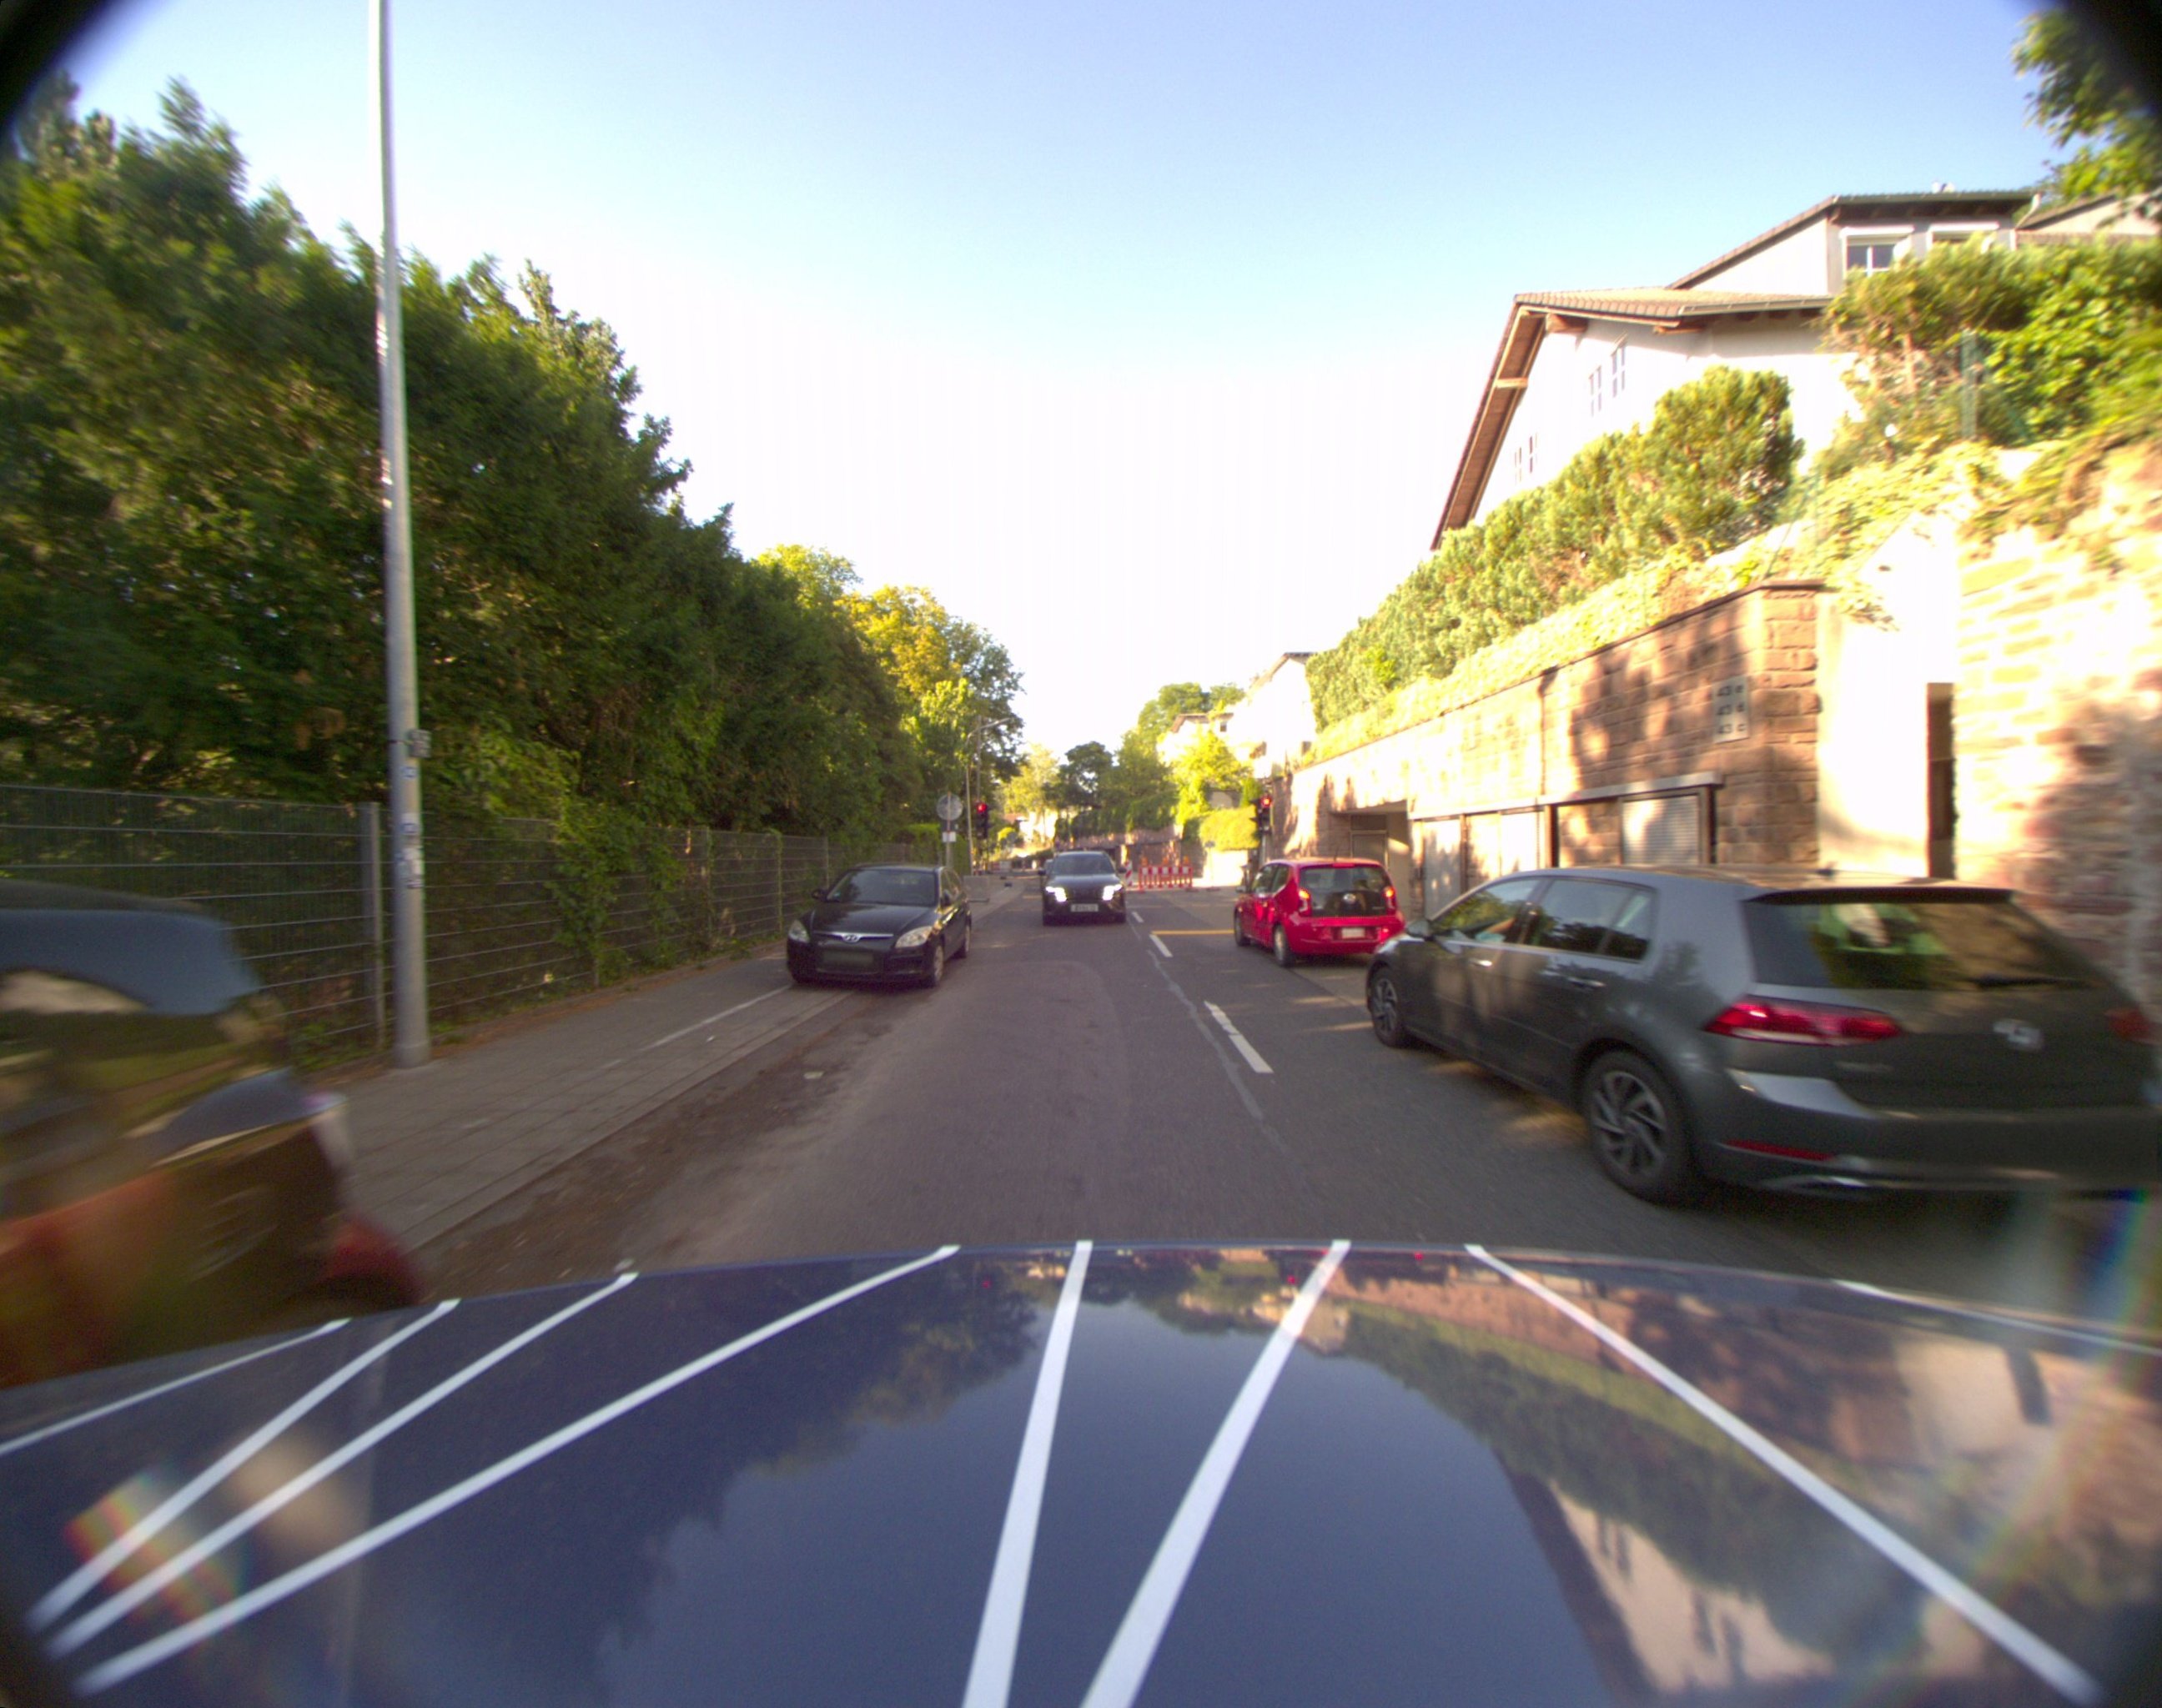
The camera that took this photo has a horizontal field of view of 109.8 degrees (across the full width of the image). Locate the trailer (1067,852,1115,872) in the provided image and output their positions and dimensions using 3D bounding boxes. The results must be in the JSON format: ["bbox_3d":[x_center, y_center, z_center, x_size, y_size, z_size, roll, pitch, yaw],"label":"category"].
[{"bbox_3d":[0.736,0.619,64.454,2.649,1.481,7.111,-3,1,-11],"label":"trailer"}]

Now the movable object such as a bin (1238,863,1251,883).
[{"bbox_3d":[7.135,0.833,33.256,0.455,0.829,0.392,-2,1,-1],"label":"movable object such as a bin"}]

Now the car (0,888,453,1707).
[{"bbox_3d":[-2.581,0.910,0.608,1.657,1.555,2.872,3,1,2],"label":"car"}]

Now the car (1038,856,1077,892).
[{"bbox_3d":[-1.155,0.895,35.626,1.663,1.468,3.681,-2,1,-3],"label":"car"}]

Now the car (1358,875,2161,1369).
[{"bbox_3d":[3.132,0.894,4.342,1.653,1.403,3.930,-1,0,0],"label":"car"}]

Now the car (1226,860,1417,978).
[{"bbox_3d":[3.353,0.832,11.298,1.631,1.413,3.562,-1,0,-2],"label":"car"}]

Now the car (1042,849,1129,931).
[{"bbox_3d":[0.018,0.763,18.509,1.788,1.639,4.472,-3,1,-2],"label":"car"}]

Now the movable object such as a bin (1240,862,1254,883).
[{"bbox_3d":[7.138,0.799,32.745,0.457,0.879,0.500,-2,1,-1],"label":"movable object such as a bin"}]

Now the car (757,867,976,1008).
[{"bbox_3d":[-2.618,0.948,10.292,1.799,1.432,4.000,-1,0,0],"label":"car"}]
